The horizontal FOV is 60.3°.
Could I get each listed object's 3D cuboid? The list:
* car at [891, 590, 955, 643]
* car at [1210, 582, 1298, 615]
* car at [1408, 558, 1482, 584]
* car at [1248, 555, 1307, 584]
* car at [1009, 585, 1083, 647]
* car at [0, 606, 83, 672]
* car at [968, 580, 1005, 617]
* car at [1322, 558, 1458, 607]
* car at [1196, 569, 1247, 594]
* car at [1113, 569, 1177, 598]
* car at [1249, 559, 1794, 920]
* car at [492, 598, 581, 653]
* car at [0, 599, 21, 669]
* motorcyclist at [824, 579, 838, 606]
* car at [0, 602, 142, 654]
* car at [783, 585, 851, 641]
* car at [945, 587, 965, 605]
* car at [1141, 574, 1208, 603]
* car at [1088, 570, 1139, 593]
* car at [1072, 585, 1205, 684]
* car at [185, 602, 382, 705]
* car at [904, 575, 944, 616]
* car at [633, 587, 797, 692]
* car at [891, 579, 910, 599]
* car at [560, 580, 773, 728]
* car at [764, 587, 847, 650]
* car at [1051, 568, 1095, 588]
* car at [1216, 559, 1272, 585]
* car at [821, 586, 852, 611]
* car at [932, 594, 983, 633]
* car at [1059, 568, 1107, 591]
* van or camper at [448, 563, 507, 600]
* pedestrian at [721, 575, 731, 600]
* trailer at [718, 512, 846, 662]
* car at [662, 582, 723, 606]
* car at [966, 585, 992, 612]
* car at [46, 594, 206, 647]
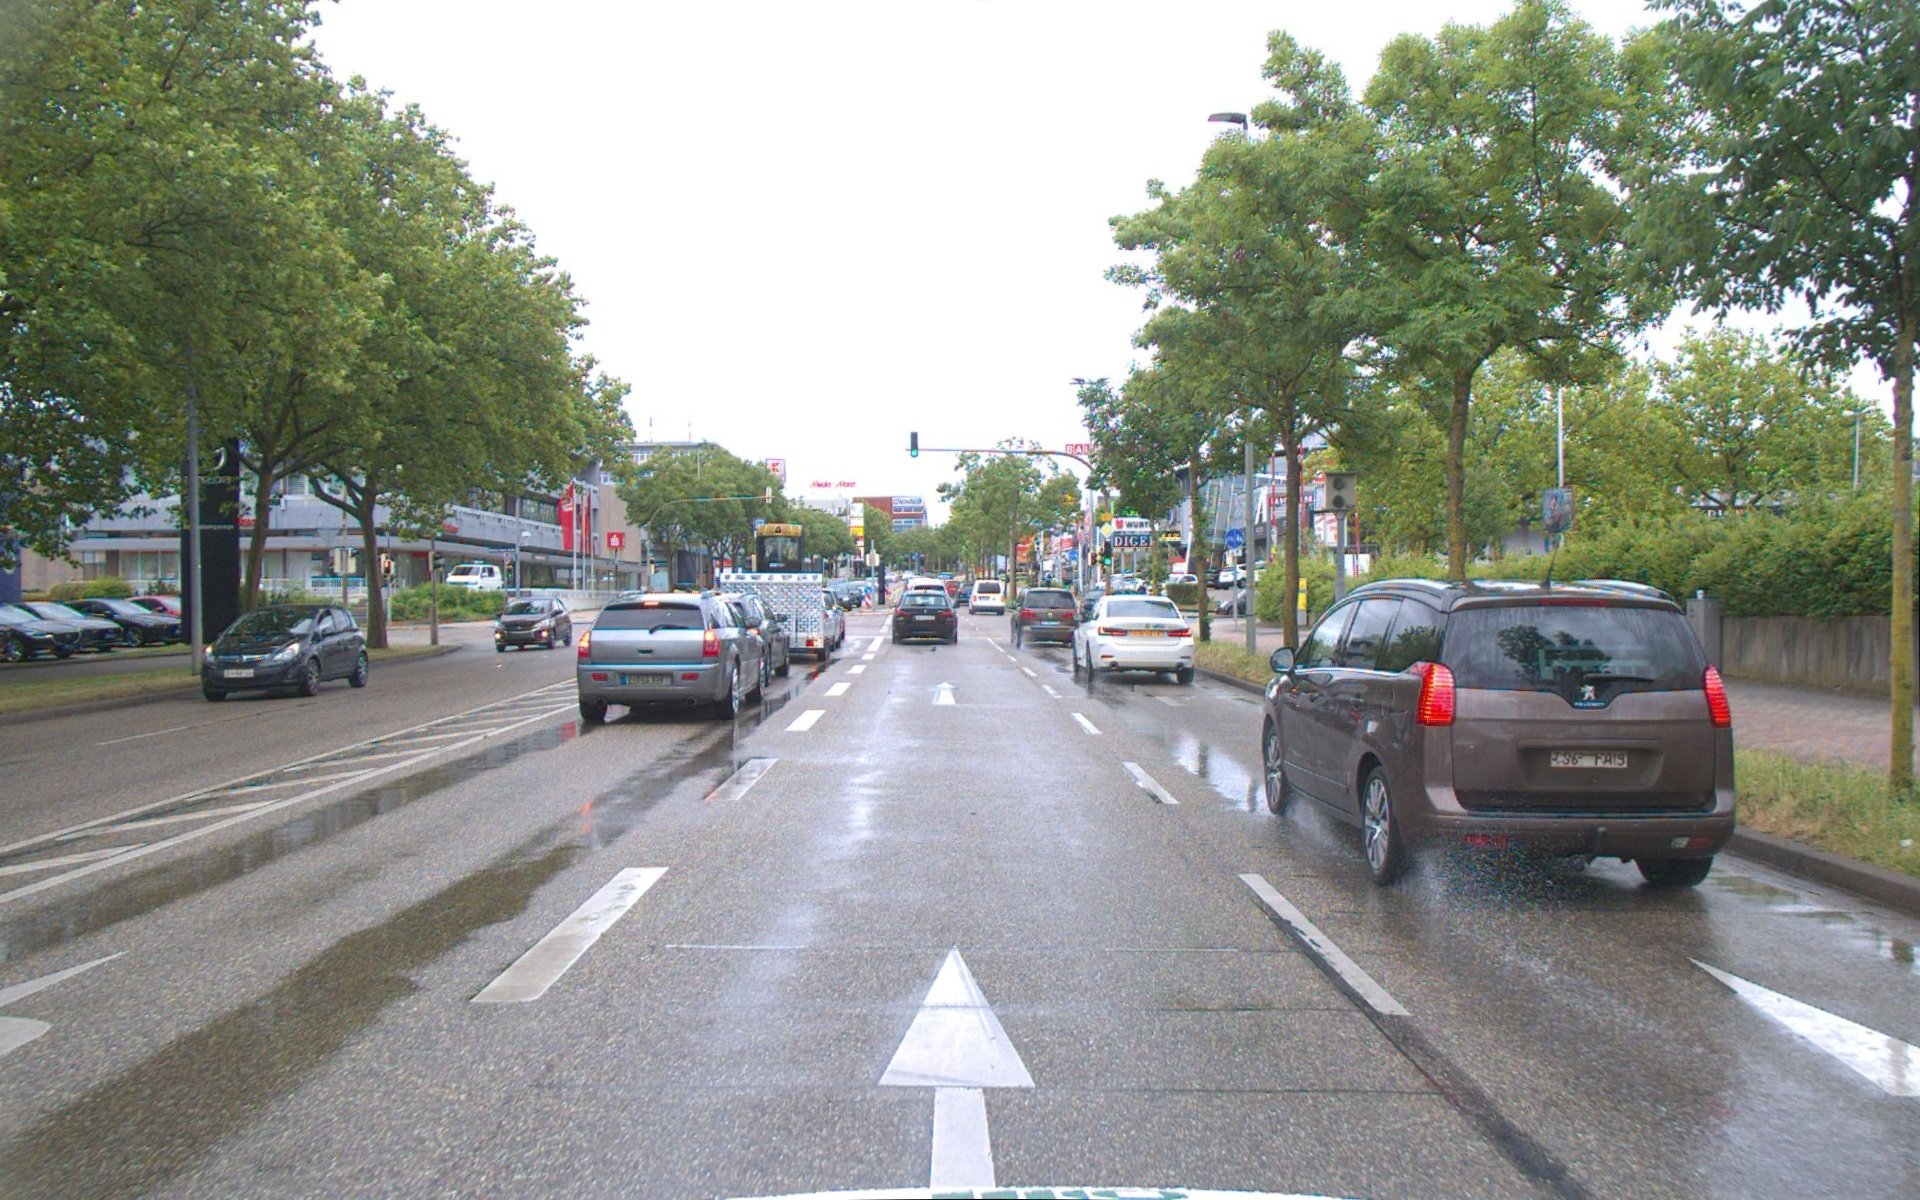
[{"bbox_3d":[-1.060,0.437,46.889,1.745,1.422,3.999,0,0,-2],"label":"car"},{"bbox_3d":[14.274,-0.065,80.377,3.898,1.515,1.817,-2,0,-1],"label":"car"},{"bbox_3d":[29.623,-1.749,101.039,1.723,1.506,4.091,-1,1,-41],"label":"car"},{"bbox_3d":[20.732,-2.007,107.879,4.123,1.802,1.710,-2,1,-45],"label":"car"},{"bbox_3d":[2.361,0.403,46.223,1.764,1.614,4.450,1,1,-1],"label":"car"},{"bbox_3d":[-25.521,1.062,43.465,4.164,1.623,1.985,-2,1,-25],"label":"car"},{"bbox_3d":[1.387,-0.110,87.827,1.746,1.899,3.999,-1,0,-2],"label":"car"},{"bbox_3d":[13.665,-0.555,52.652,3.904,1.467,1.655,-1,1,1],"label":"car"},{"bbox_3d":[19.671,-1.394,124.206,3.940,1.750,1.610,-2,1,-41],"label":"car"},{"bbox_3d":[12.135,-1.116,108.473,3.992,1.691,1.953,-4,2,-41],"label":"car"},{"bbox_3d":[3.008,0.632,9.936,1.691,1.652,4.470,-1,0,-1],"label":"car"},{"bbox_3d":[-12.319,0.707,48.303,1.675,1.490,4.083,-2,0,-3],"label":"car"},{"bbox_3d":[-25.234,0.909,39.964,4.164,1.682,1.997,-2,0,-25],"label":"car"},{"bbox_3d":[-7.680,-0.425,98.397,0.790,1.586,1.267,0,1,-3],"label":"motorcyclist"},{"bbox_3d":[-25.913,0.797,47.802,3.668,1.415,1.688,-1,1,-6],"label":"car"},{"bbox_3d":[-4.120,0.338,48.149,1.679,1.515,4.076,-1,1,-1],"label":"car"},{"bbox_3d":[-0.411,-0.334,138.687,1.661,1.469,3.988,-1,-1,-1],"label":"car"},{"bbox_3d":[12.520,-0.684,96.483,1.896,1.604,4.266,-1,1,40],"label":"car"},{"bbox_3d":[11.351,-1.350,121.903,3.567,1.562,1.770,-2,1,-41],"label":"car"},{"bbox_3d":[3.047,0.545,29.092,1.764,1.571,4.619,1,0,-1],"label":"car"},{"bbox_3d":[-11.077,0.823,27.382,1.675,1.490,4.083,-2,0,-3],"label":"car"},{"bbox_3d":[-1.820,-0.215,84.302,1.953,2.049,3.999,1,0,-1],"label":"car"},{"bbox_3d":[-3.909,0.581,27.134,1.953,1.454,4.554,-2,1,0],"label":"car"},{"bbox_3d":[-6.513,-1.185,181.617,1.953,2.049,3.999,1,0,0],"label":"car"},{"bbox_3d":[-3.567,0.589,20.985,1.868,1.606,4.879,-1,0,-1],"label":"car"},{"bbox_3d":[-3.888,0.428,42.200,1.730,1.484,4.779,-1,0,-1],"label":"car"},{"bbox_3d":[10.340,-1.994,150.990,4.024,1.733,1.801,0,1,4],"label":"car"},{"bbox_3d":[20.222,-1.996,117.540,4.117,1.802,1.712,-2,1,-41],"label":"car"},{"bbox_3d":[-7.008,-0.102,93.805,1.649,1.401,3.996,-1,1,-5],"label":"car"},{"bbox_3d":[-0.143,0.479,63.836,1.649,1.401,3.996,-1,1,-5],"label":"car"},{"bbox_3d":[10.685,-1.795,143.687,4.026,1.938,1.800,-1,1,0],"label":"car"},{"bbox_3d":[-27.053,-1.016,92.809,1.953,2.001,4.787,1,0,-1],"label":"van or camper"},{"bbox_3d":[-21.838,-1.168,154.153,0.842,2.257,0.845,0,1,-4],"label":"pedestrian"},{"bbox_3d":[-3.749,-0.271,35.874,2.325,2.947,5.543,-1,0,-2],"label":"trailer"},{"bbox_3d":[-18.538,-0.413,114.607,3.916,1.579,1.895,-1,1,33],"label":"car"},{"bbox_3d":[1.223,-0.098,109.535,1.650,1.713,3.402,1,0,0],"label":"car"},{"bbox_3d":[-25.554,0.606,50.786,3.902,1.515,1.877,-1,1,-6],"label":"car"}]
